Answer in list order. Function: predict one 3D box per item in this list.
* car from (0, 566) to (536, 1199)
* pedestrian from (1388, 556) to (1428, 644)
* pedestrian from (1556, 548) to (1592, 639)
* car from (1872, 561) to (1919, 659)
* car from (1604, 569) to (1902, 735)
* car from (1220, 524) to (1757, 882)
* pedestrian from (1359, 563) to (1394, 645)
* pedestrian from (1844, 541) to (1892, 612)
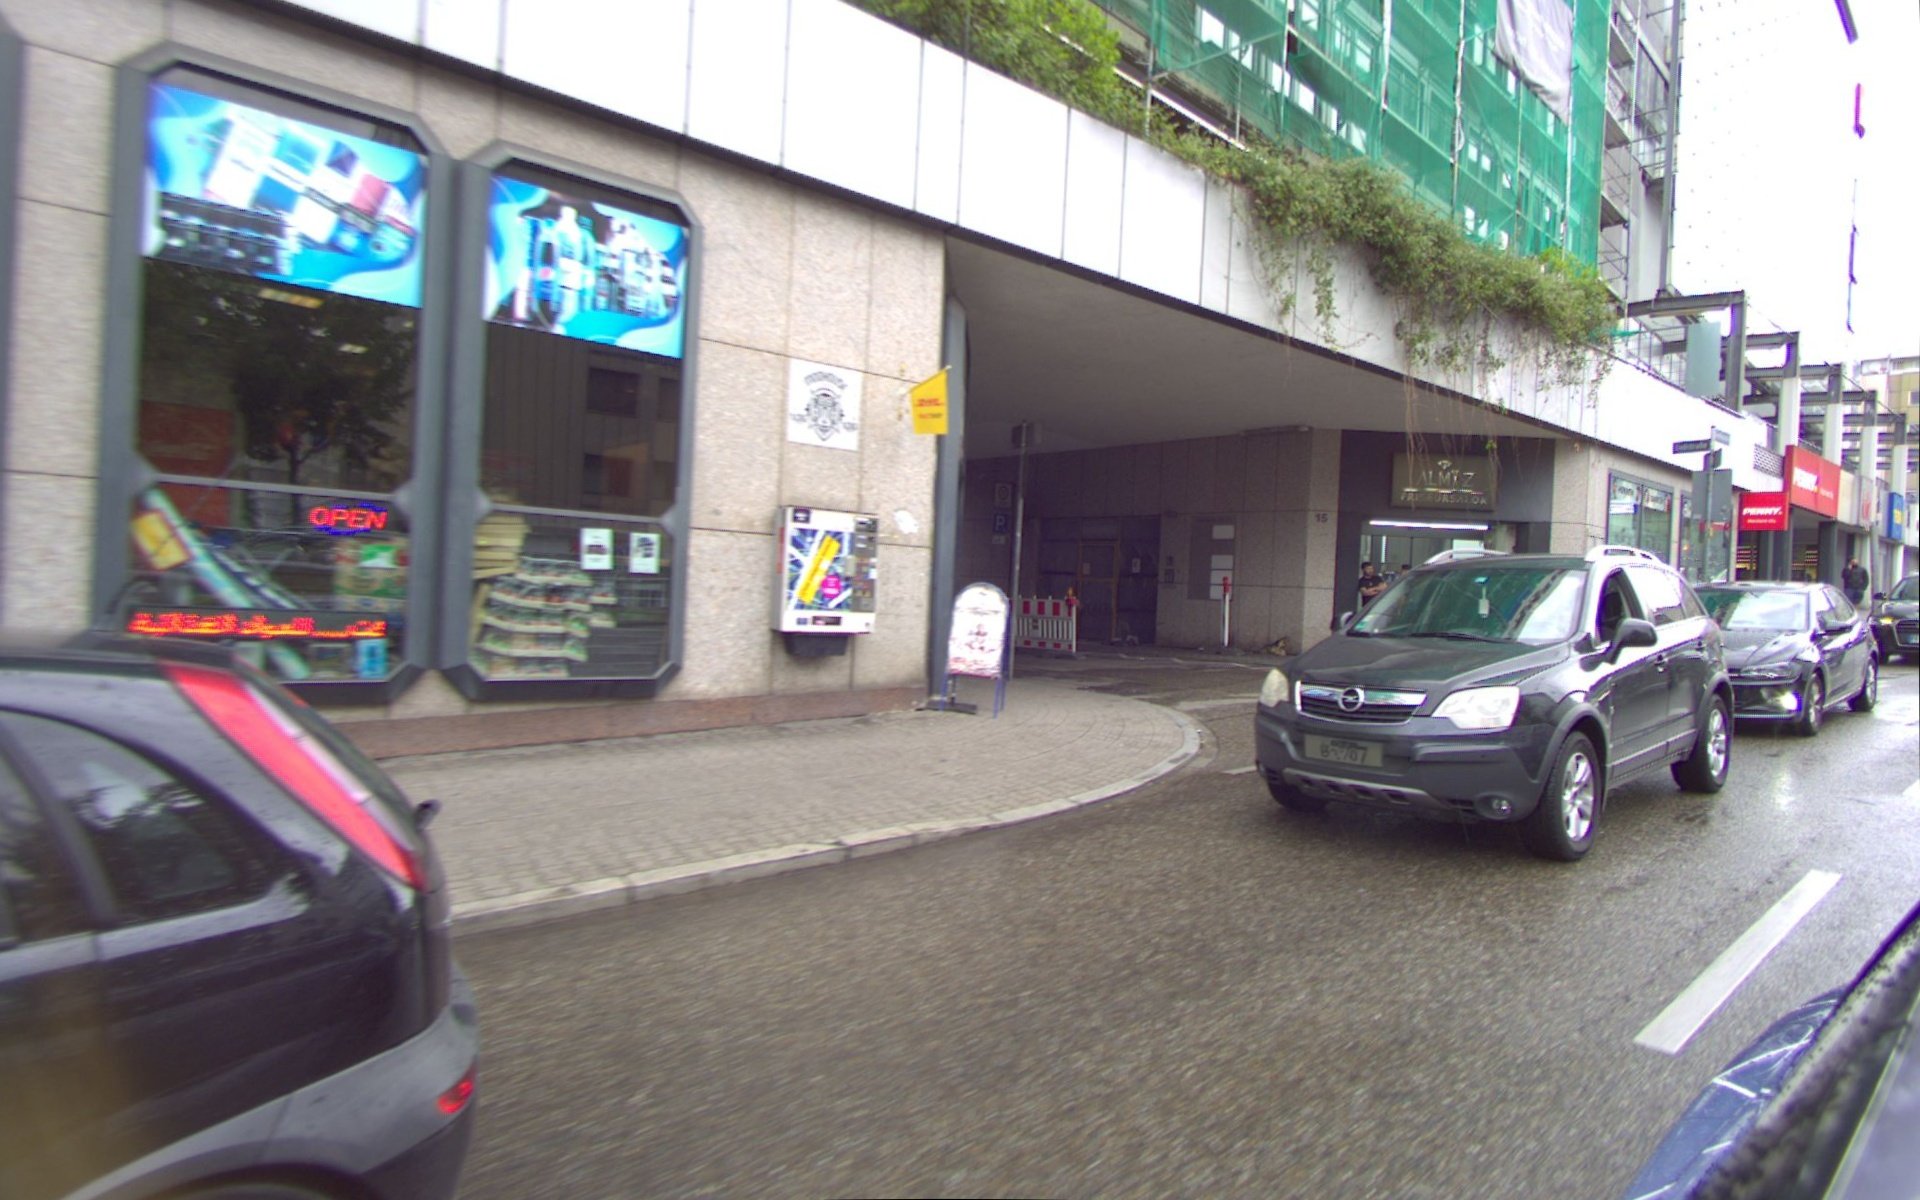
[{"bbox_3d":[-2.643,0.638,1.238,3.564,1.459,1.594,2,0,-42],"label":"car"},{"bbox_3d":[7.914,-0.013,17.867,0.515,1.506,0.428,-1,3,-40],"label":"pedestrian"},{"bbox_3d":[11.115,-0.134,18.329,0.457,1.616,0.403,-2,3,-42],"label":"pedestrian"},{"bbox_3d":[17.319,0.104,17.382,3.927,1.604,1.777,-2,1,-38],"label":"car"},{"bbox_3d":[8.558,0.416,10.829,3.708,1.448,1.682,-2,2,-38],"label":"car"},{"bbox_3d":[3.735,0.423,6.807,4.174,1.699,1.735,-2,2,-40],"label":"car"},{"bbox_3d":[7.809,0.065,18.990,0.517,1.506,0.427,2,3,17],"label":"pedestrian"},{"bbox_3d":[24.387,-0.637,27.173,0.630,1.798,0.708,-7,11,-39],"label":"pedestrian"}]
